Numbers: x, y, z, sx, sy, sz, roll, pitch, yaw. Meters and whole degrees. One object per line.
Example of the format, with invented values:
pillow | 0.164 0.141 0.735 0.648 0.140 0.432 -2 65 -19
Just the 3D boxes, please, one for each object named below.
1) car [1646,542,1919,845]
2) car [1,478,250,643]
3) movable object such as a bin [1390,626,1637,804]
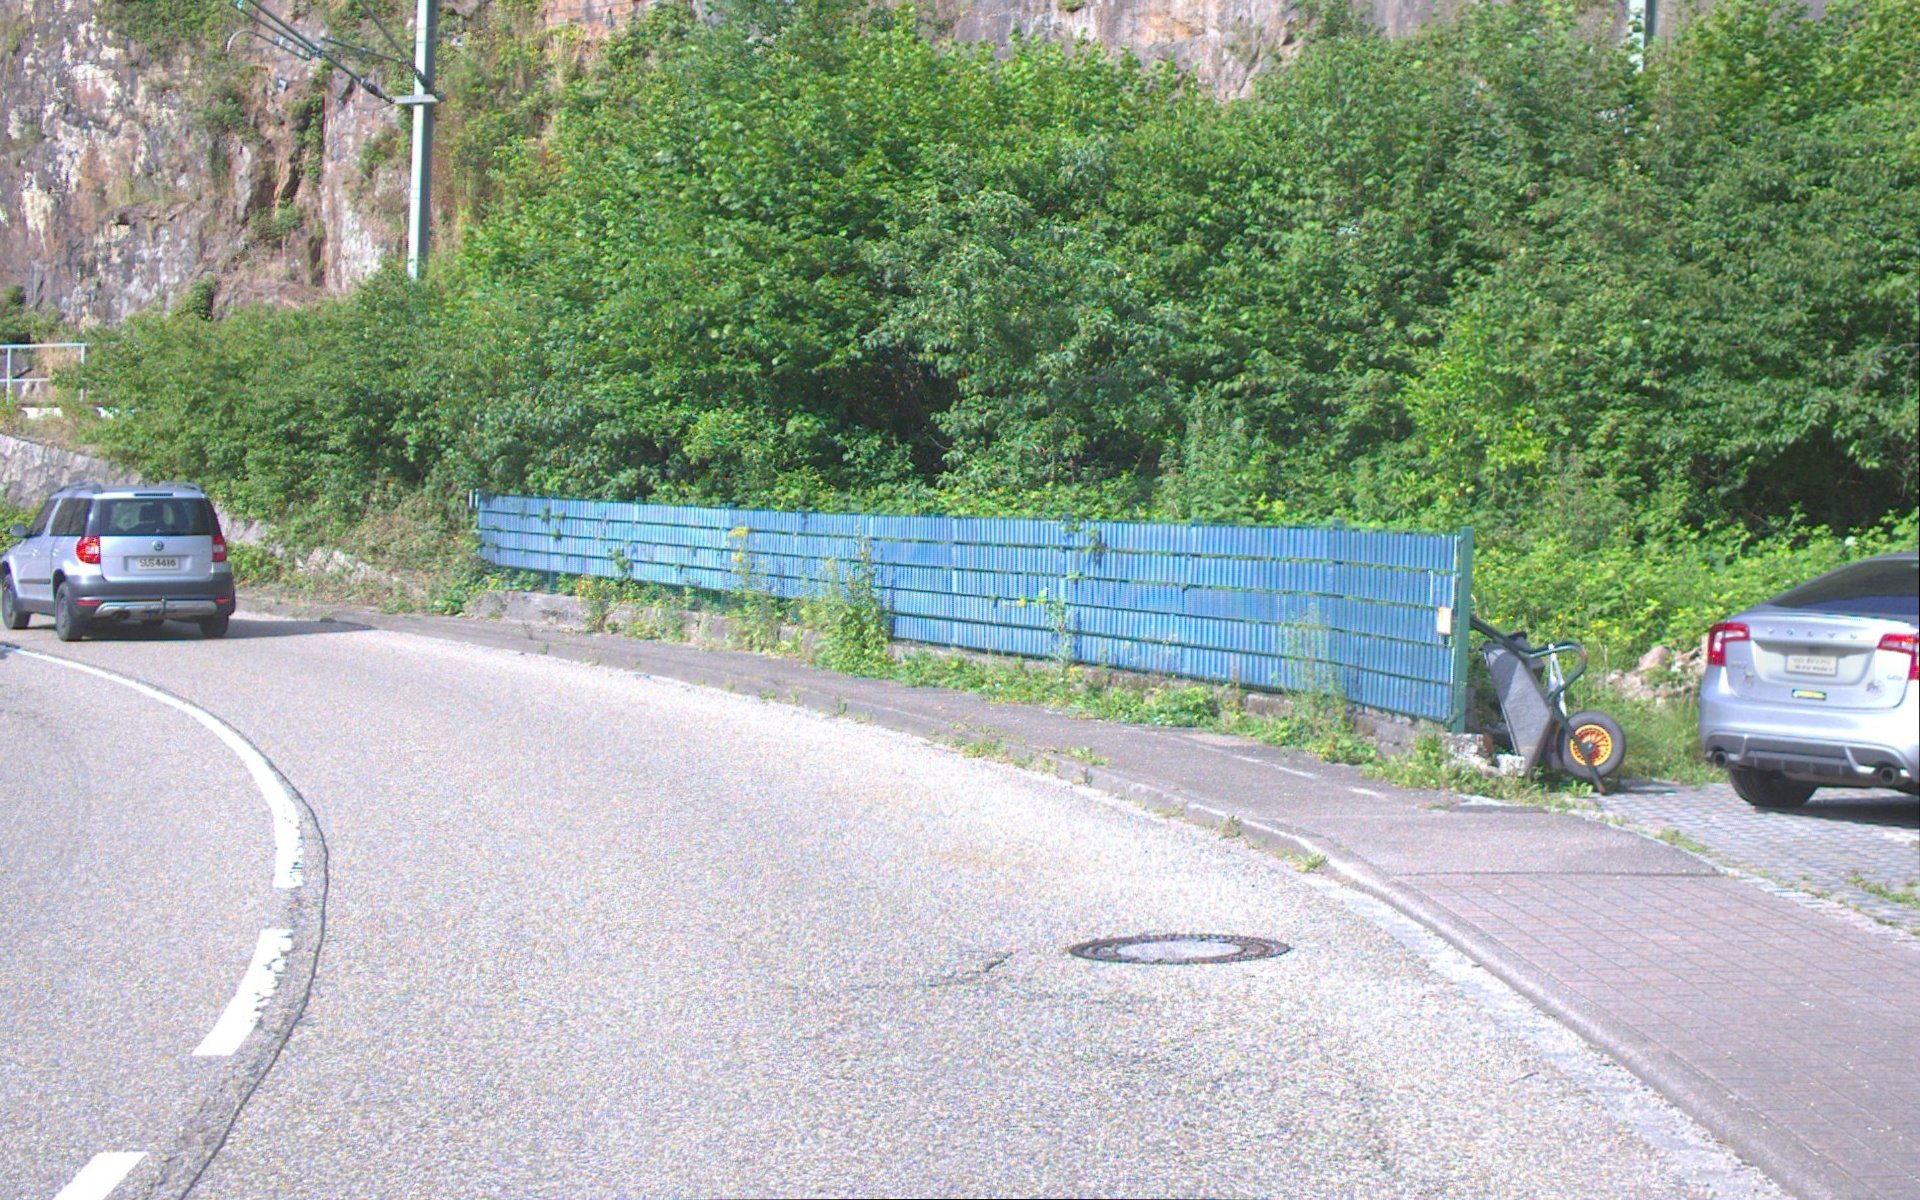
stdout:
car | 5.861 0.422 18.562 4.317 1.464 1.837 -2 0 -39
car | -9.123 -0.478 37.376 1.872 1.650 4.001 0 3 -25
movable object such as a bin | 3.143 0.632 19.813 0.855 0.844 2.539 3 1 -3
